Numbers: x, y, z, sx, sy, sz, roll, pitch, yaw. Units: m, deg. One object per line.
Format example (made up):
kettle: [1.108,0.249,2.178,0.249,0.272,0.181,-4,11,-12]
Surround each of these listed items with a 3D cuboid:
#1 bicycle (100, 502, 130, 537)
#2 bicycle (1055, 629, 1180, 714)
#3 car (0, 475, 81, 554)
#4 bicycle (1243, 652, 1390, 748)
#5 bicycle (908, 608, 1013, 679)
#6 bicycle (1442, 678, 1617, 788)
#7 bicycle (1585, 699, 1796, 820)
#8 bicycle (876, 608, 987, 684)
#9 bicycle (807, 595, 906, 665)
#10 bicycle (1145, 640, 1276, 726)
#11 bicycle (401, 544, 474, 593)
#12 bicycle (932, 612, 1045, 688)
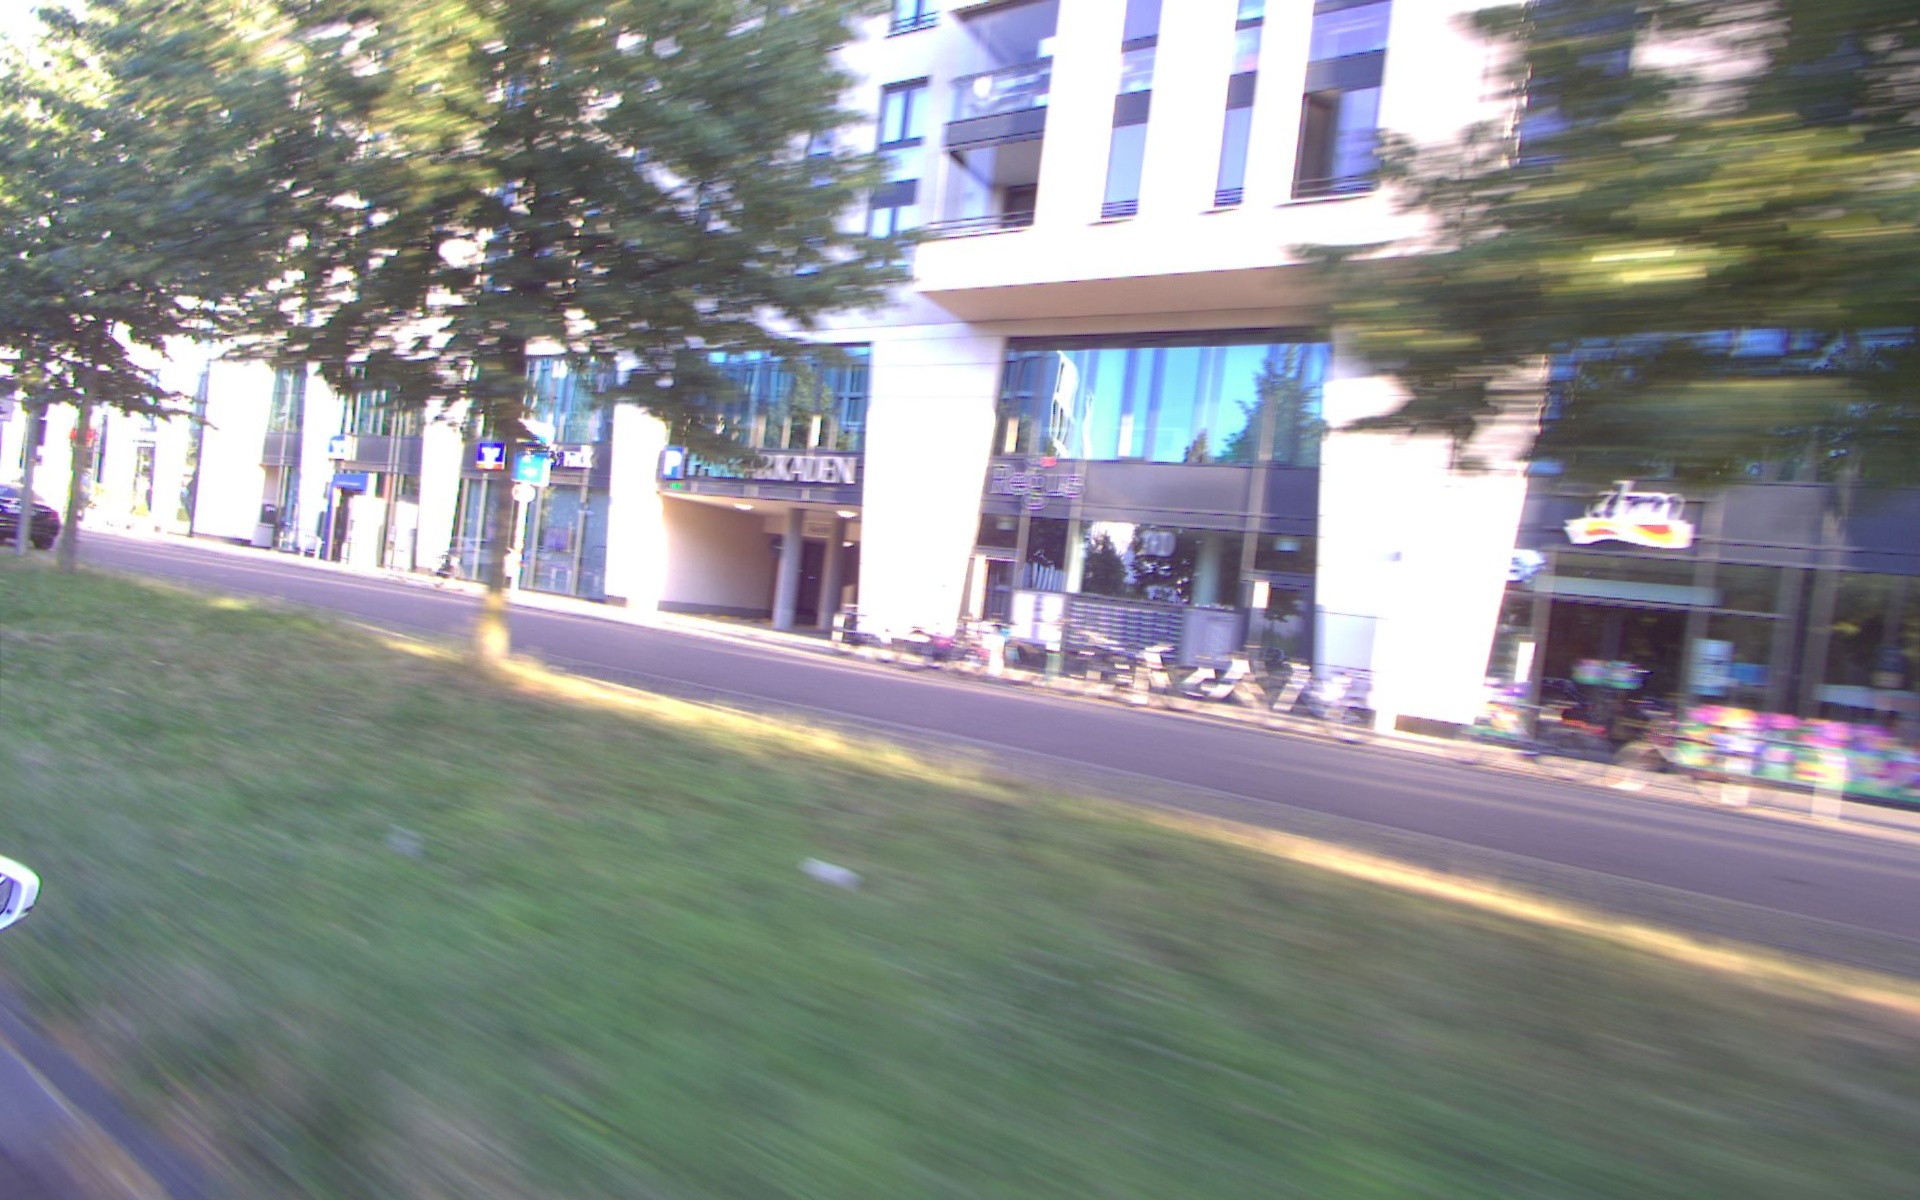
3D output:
bicycle: [-30.705,-2.938,36.546,1.808,1.139,0.569,8,3,43]
bicycle: [2.511,1.123,16.151,1.826,1.075,0.533,7,3,32]
car: [-22.921,-2.167,23.588,4.729,1.568,1.947,7,0,29]
bicycle: [5.107,1.402,14.466,1.826,1.075,0.533,7,3,32]
bicycle: [0.000,0.785,18.506,1.826,1.075,0.533,7,3,32]
bicycle: [7.338,1.684,13.035,1.826,1.075,0.533,7,3,32]
bicycle: [8.545,1.847,11.844,1.822,1.075,0.534,7,3,19]
bicycle: [-0.496,0.776,17.407,1.748,1.075,0.534,7,3,22]
bicycle: [-1.976,0.557,19.043,1.826,1.075,0.533,7,3,32]
bicycle: [3.941,1.283,15.891,1.826,1.075,0.533,7,3,32]
bicycle: [-13.556,-0.828,26.100,2.021,1.051,0.653,7,0,32]
bicycle: [0.485,0.855,17.514,1.826,1.074,0.534,7,1,32]
